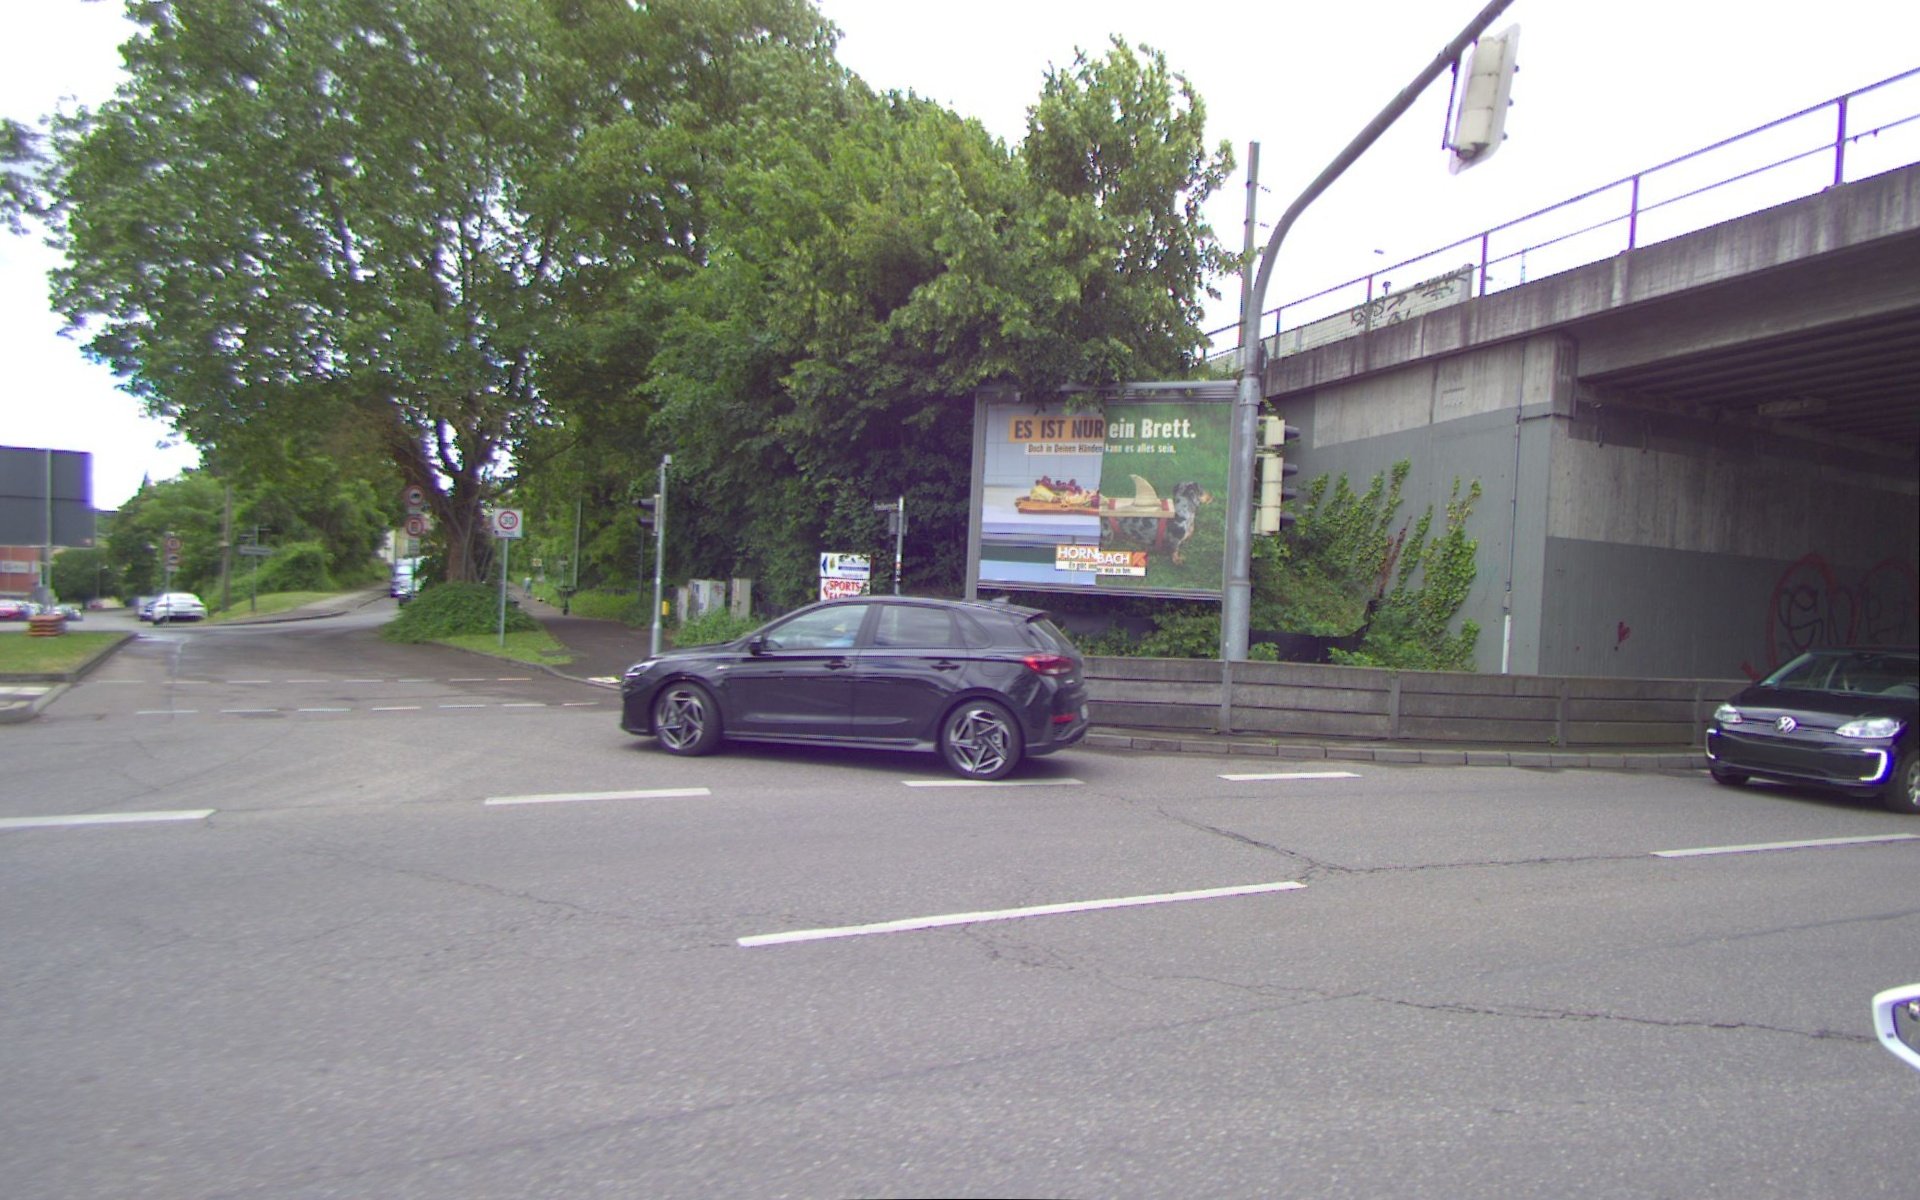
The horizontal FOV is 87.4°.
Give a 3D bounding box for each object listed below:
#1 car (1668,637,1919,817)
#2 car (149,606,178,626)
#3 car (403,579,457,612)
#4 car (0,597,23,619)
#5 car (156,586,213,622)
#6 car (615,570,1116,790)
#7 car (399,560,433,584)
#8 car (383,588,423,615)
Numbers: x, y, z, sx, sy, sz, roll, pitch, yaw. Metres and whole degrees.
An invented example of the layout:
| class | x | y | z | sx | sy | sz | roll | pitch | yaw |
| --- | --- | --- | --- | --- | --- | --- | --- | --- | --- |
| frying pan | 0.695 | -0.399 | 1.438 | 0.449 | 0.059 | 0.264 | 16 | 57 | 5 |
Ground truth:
| class | x | y | z | sx | sy | sz | roll | pitch | yaw |
| --- | --- | --- | --- | --- | --- | --- | --- | --- | --- |
| car | 9.213 | 1.189 | 9.973 | 3.943 | 1.428 | 1.719 | 3 | 0 | -23 |
| car | -60.121 | 1.231 | 75.837 | 1.680 | 1.327 | 3.955 | 2 | 0 | -38 |
| car | -26.662 | -0.262 | 50.649 | 1.837 | 1.528 | 3.981 | 2 | 1 | -20 |
| car | -65.637 | 0.513 | 68.918 | 3.679 | 1.372 | 1.664 | 3 | 0 | 42 |
| car | -35.346 | 0.209 | 45.843 | 1.851 | 1.509 | 3.960 | 2 | -2 | -36 |
| car | -0.712 | 0.623 | 9.004 | 4.053 | 1.496 | 1.823 | 3 | 0 | 10 |
| car | -38.494 | -2.012 | 71.157 | 1.691 | 1.561 | 3.978 | 2 | 2 | -22 |
| car | -35.378 | 0.093 | 63.879 | 1.691 | 1.528 | 3.978 | 2 | 1 | -22 |
